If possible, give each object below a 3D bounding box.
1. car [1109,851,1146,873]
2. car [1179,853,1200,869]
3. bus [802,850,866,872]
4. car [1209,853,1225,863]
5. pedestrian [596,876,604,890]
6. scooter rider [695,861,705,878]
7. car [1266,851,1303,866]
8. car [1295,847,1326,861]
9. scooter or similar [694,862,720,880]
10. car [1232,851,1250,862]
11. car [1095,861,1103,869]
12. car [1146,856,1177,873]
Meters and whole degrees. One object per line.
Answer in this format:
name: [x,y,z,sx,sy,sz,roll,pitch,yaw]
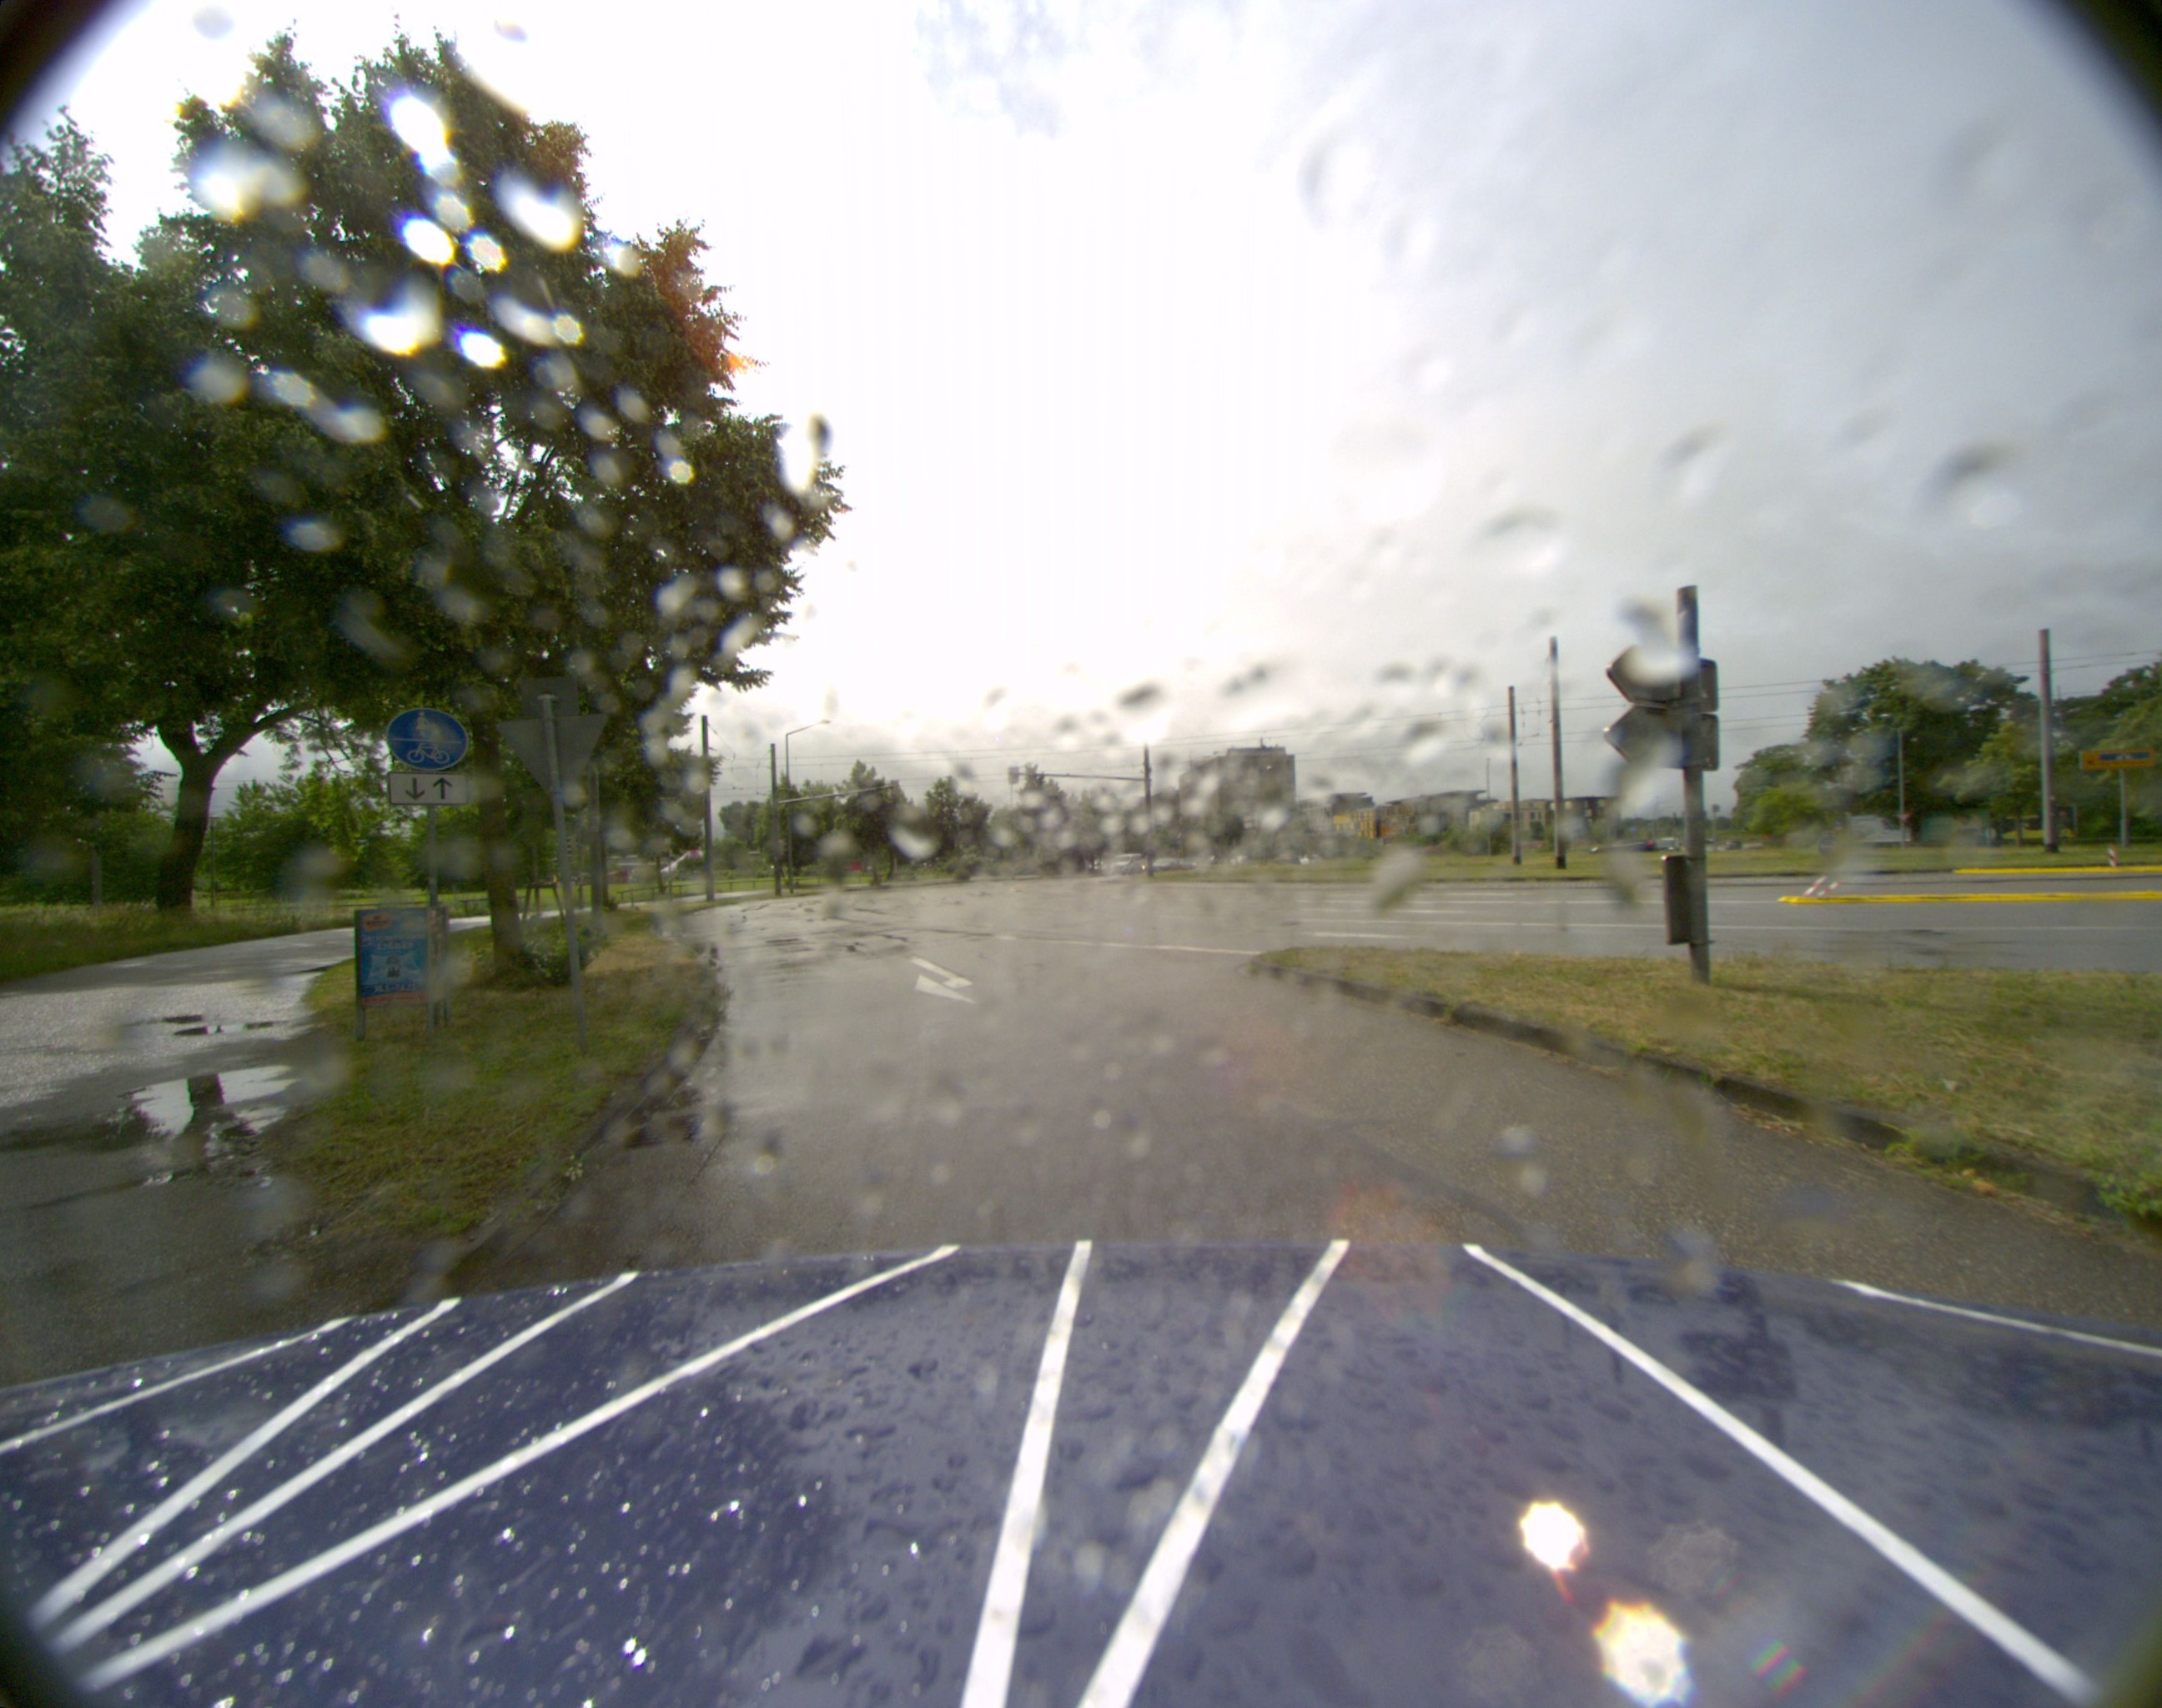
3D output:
car: [4.506,0.724,72.785,2.074,1.975,4.808,-2,-1,23]
car: [11.289,0.681,79.177,1.865,1.527,4.489,-2,1,5]
bus: [-45.514,1.324,140.273,10.989,3.439,1.998,-3,-1,-13]
car: [22.898,0.666,127.724,1.874,1.653,4.484,-2,-1,0]
pedestrian: [-60.941,3.710,96.248,0.600,1.721,0.604,-3,-1,-22]
scooter rider: [-47.394,1.901,94.530,0.768,2.001,0.707,-4,-1,30]
car: [23.698,0.553,88.653,1.870,1.662,3.812,-3,1,-36]
car: [28.849,-0.058,95.509,1.867,1.662,4.466,-1,1,-11]
scooter or similar: [-46.418,2.157,94.196,3.400,2.001,1.242,-5,-1,33]
car: [23.186,0.372,109.928,1.726,1.499,3.904,-2,0,0]
car: [4.104,2.439,174.691,1.874,1.653,4.485,2,-2,2]
car: [7.162,0.922,67.776,1.867,1.372,4.550,-2,0,-5]
